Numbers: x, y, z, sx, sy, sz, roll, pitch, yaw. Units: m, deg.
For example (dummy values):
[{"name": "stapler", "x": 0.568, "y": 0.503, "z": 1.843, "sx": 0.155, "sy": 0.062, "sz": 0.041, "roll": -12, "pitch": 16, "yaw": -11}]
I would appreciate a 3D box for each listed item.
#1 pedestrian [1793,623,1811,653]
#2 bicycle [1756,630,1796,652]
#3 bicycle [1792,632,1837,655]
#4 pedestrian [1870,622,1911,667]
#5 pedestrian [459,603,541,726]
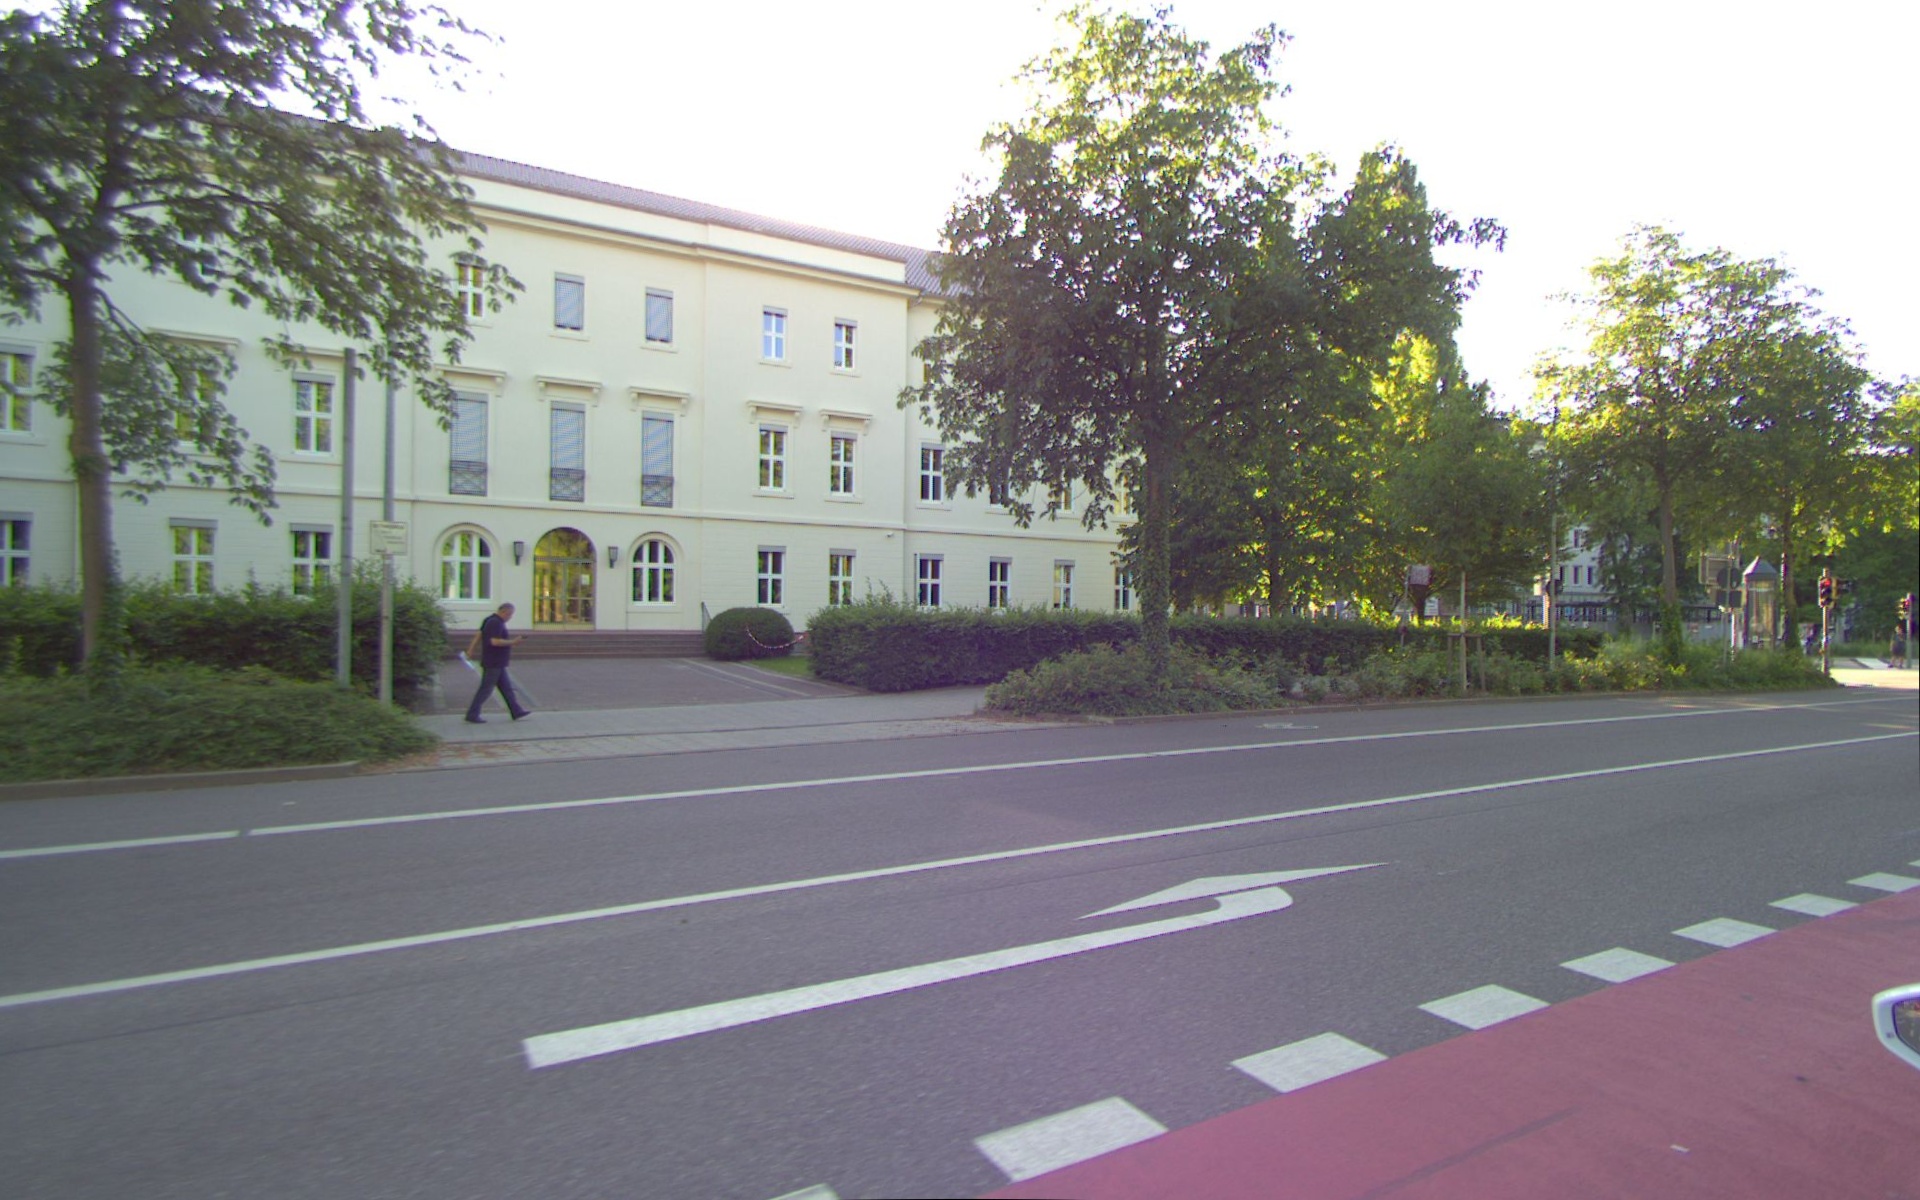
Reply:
[{"name": "pedestrian", "x": 46.376, "y": 2.090, "z": 55.313, "sx": 0.441, "sy": 1.602, "sz": 0.624, "roll": 2, "pitch": 0, "yaw": -38}, {"name": "bicycle", "x": 46.396, "y": 2.328, "z": 57.118, "sx": 0.435, "sy": 1.163, "sz": 1.862, "roll": 2, "pitch": 0, "yaw": -14}, {"name": "bicycle", "x": 47.115, "y": 2.374, "z": 55.396, "sx": 0.287, "sy": 1.163, "sz": 1.849, "roll": 2, "pitch": 0, "yaw": -34}, {"name": "pedestrian", "x": 43.770, "y": 2.093, "z": 47.246, "sx": 1.174, "sy": 2.040, "sz": 0.992, "roll": 2, "pitch": 0, "yaw": -23}, {"name": "pedestrian", "x": -6.775, "y": 0.924, "z": 14.793, "sx": 0.958, "sy": 1.743, "sz": 0.829, "roll": 1, "pitch": -1, "yaw": -34}]
